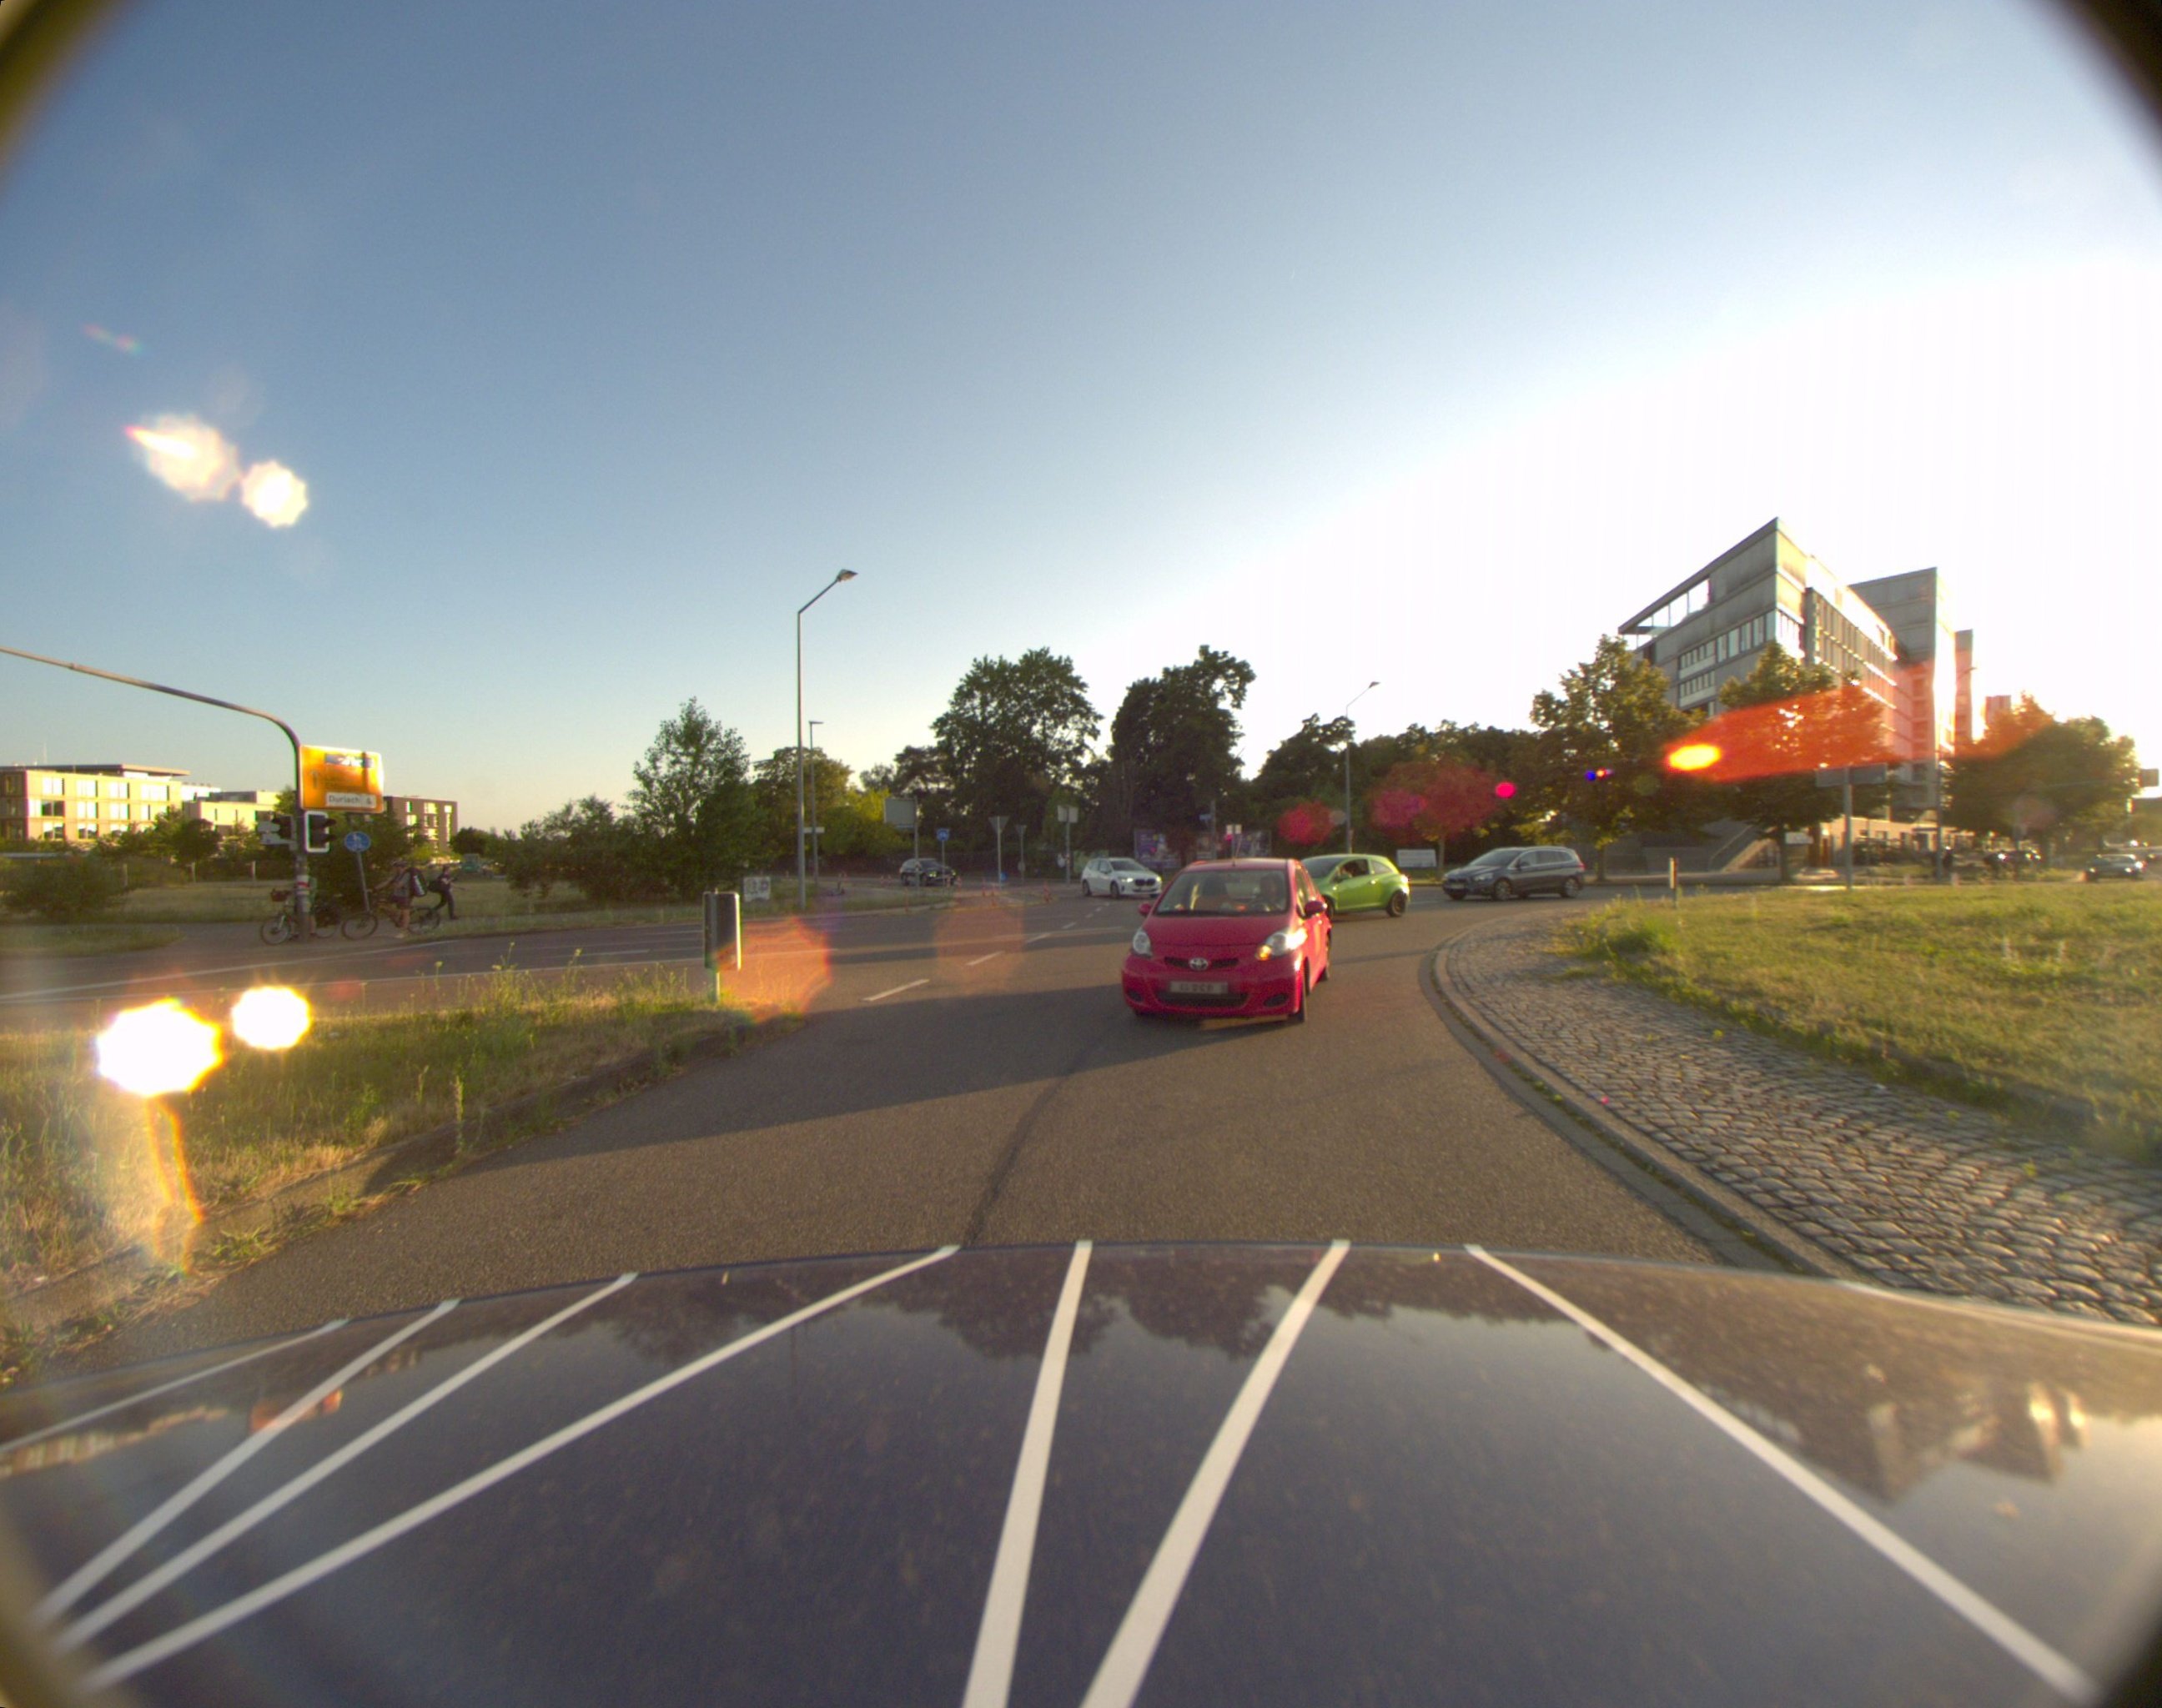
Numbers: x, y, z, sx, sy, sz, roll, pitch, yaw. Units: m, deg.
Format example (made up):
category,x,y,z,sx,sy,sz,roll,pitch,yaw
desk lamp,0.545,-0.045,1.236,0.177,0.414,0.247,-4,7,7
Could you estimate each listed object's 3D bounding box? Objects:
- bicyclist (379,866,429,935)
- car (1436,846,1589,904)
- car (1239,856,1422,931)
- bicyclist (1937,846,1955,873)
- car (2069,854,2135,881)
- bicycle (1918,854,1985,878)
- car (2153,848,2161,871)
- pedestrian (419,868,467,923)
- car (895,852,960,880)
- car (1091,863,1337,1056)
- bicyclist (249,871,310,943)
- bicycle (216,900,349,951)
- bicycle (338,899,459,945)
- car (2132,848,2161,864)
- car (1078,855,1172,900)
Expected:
category,x,y,z,sx,sy,sz,roll,pitch,yaw
bicyclist,-17.135,1.162,19.227,0.723,1.680,0.690,-1,1,28
car,13.127,0.580,23.109,4.334,1.568,1.730,-1,1,-23
car,5.596,0.792,16.916,4.006,1.412,1.685,-1,1,-32
bicyclist,46.984,0.308,41.276,0.693,1.432,0.610,-2,1,-42
car,55.423,0.701,41.233,4.132,1.371,1.747,-1,1,-31
bicycle,47.097,0.628,41.135,0.744,1.237,2.341,-2,1,-41
car,85.565,0.414,59.204,5.317,1.801,1.995,0,-2,-39
pedestrian,-19.210,1.218,22.902,0.993,1.581,0.924,-1,1,-35
car,-9.315,0.692,45.937,2.004,1.588,4.302,-1,1,-39
car,1.660,0.861,8.085,1.685,1.412,4.006,-1,0,23
bicyclist,-19.319,1.254,18.319,0.724,1.680,0.690,-1,1,12
bicycle,-19.261,1.695,18.406,0.708,0.958,2.109,-1,2,14
bicycle,-17.150,1.677,19.167,0.708,0.957,2.149,-1,0,26
car,104.594,0.189,74.241,4.008,1.444,1.994,-1,1,-39
car,1.639,0.862,30.131,2.002,1.597,4.190,-1,0,-24
